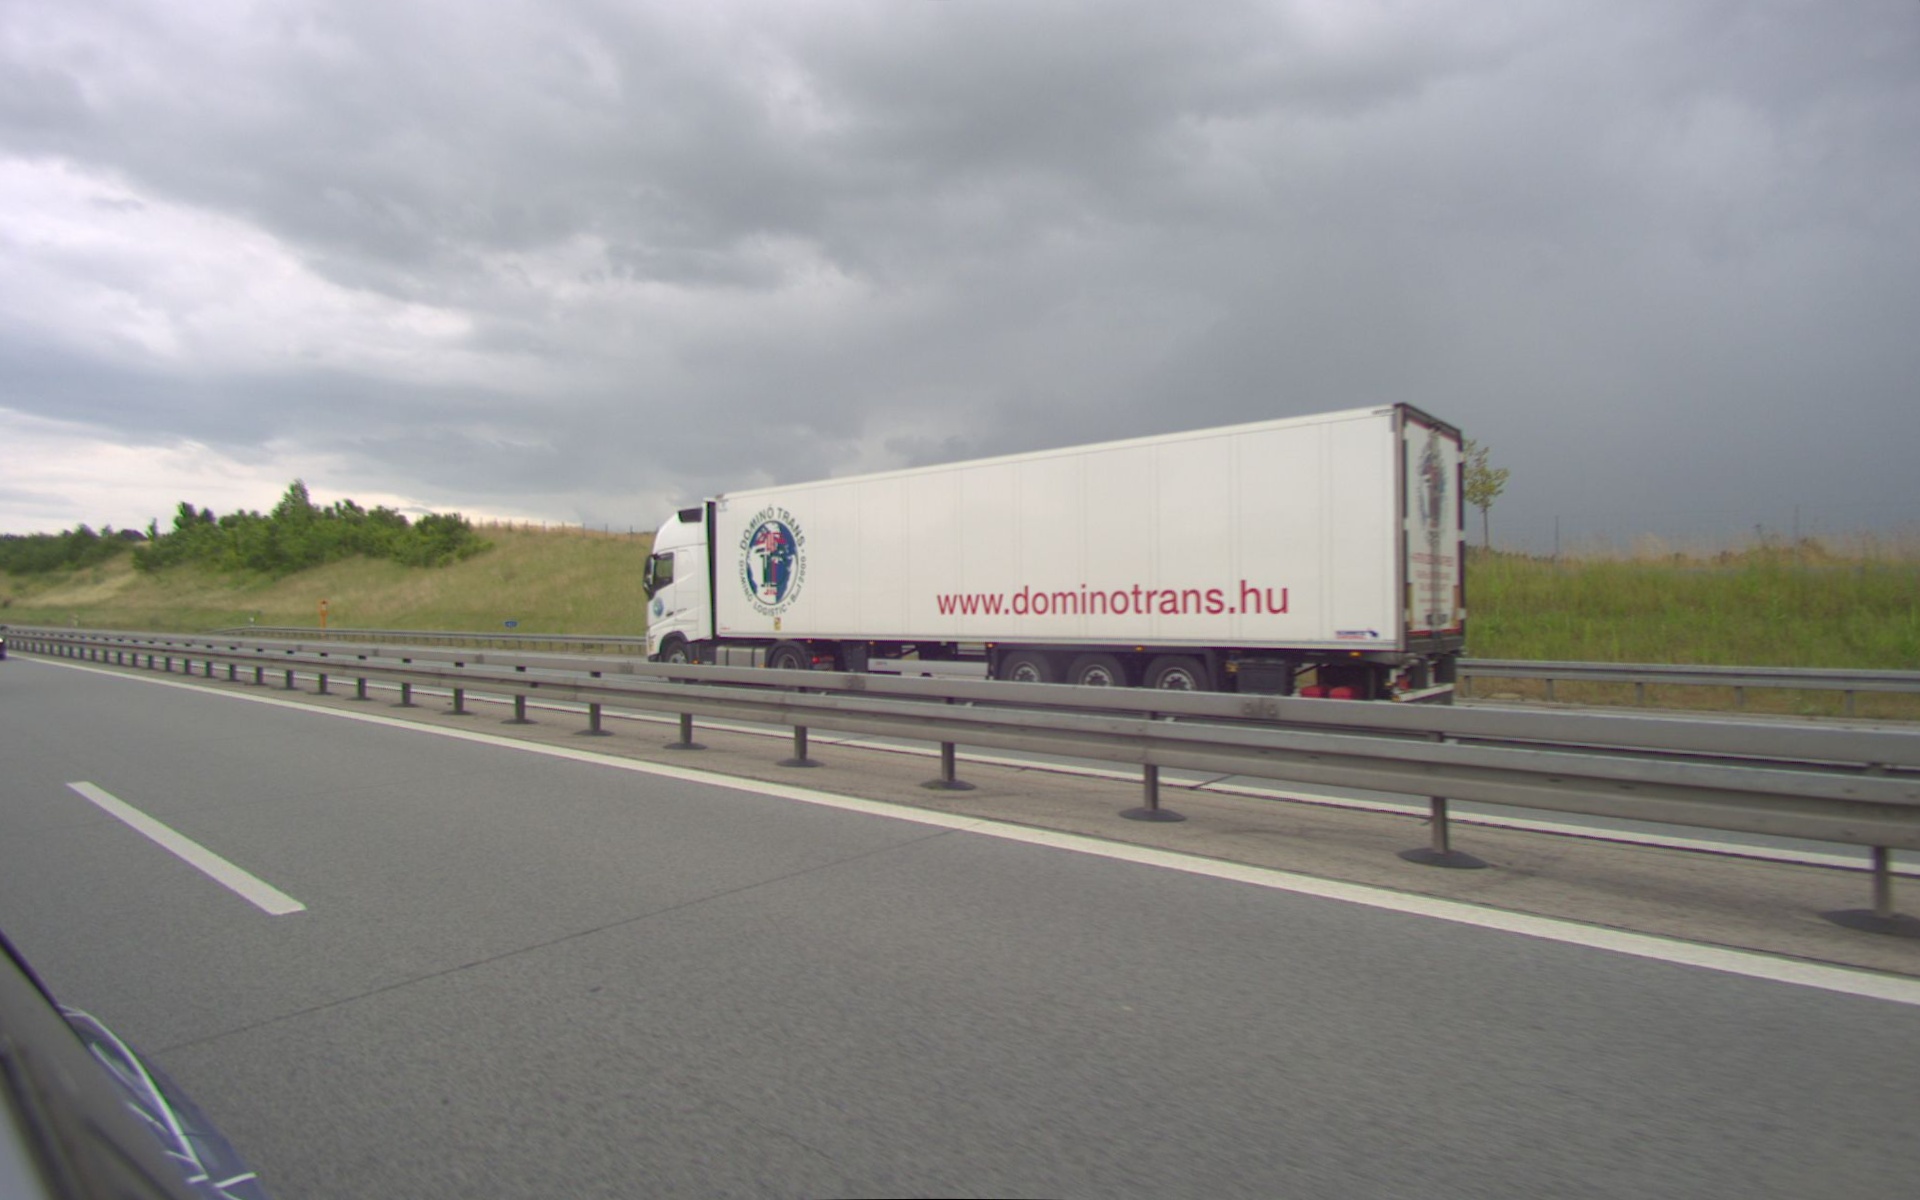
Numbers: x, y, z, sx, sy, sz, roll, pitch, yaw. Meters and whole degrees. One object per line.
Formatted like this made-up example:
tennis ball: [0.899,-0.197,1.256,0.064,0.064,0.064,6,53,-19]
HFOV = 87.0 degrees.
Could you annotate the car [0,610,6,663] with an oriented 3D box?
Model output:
car: [-32.939,1.197,33.282,5.396,1.683,1.876,-1,-1,43]

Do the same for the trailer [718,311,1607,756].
trailer: [1.615,-0.581,16.552,14.838,4.685,2.766,-1,-2,41]

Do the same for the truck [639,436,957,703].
truck: [-3.569,-0.468,21.074,6.916,4.682,2.766,-1,-2,41]
